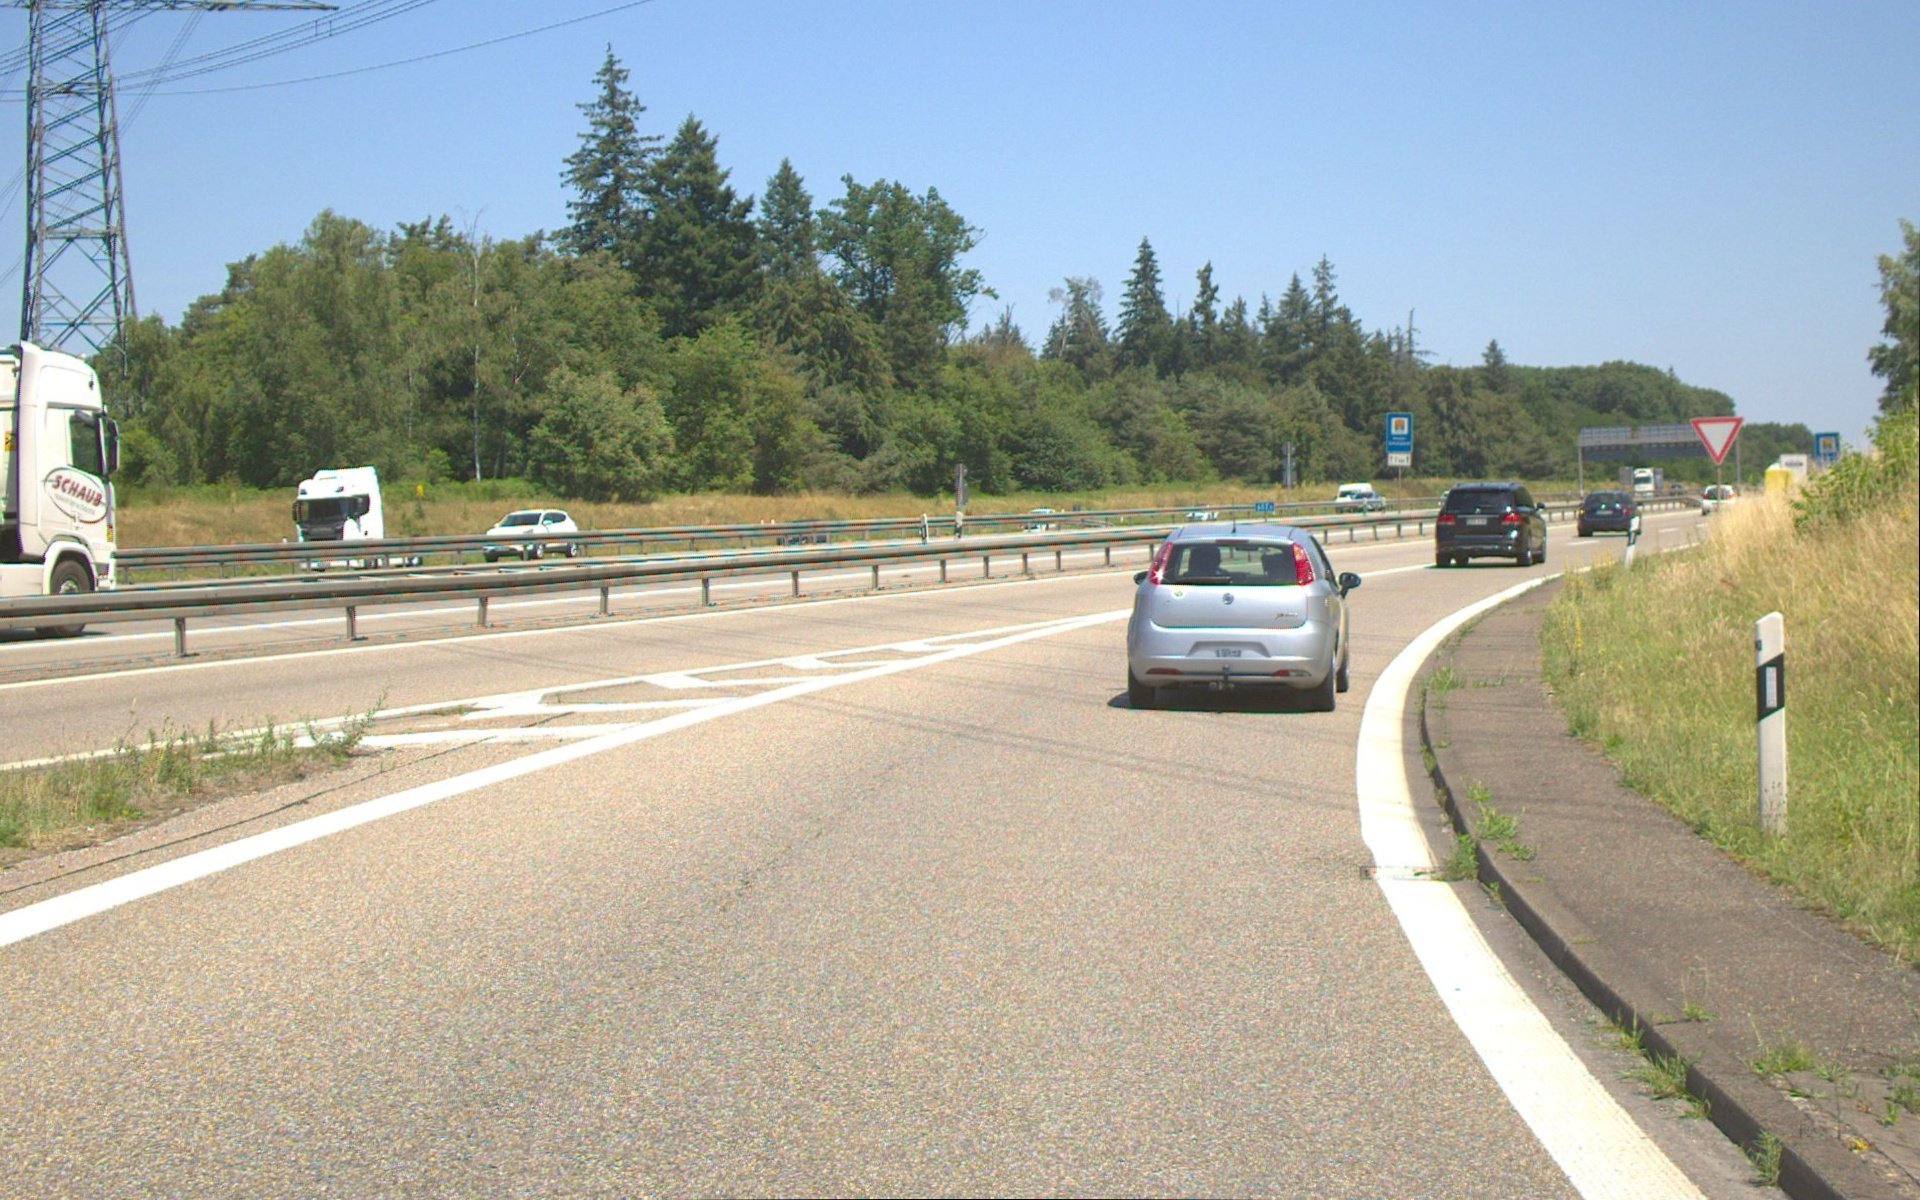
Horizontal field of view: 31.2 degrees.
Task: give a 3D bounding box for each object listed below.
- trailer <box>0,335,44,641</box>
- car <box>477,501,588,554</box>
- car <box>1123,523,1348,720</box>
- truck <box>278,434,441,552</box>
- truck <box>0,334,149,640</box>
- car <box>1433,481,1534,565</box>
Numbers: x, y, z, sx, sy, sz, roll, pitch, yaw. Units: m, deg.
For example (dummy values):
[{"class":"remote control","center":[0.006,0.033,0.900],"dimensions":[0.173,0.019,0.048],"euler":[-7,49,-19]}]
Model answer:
[{"class":"trailer","center":[-14.343,-1.238,39.185],"dimensions":[2.773,3.794,9.878],"euler":[0,2,16]},{"class":"car","center":[-13.978,-2.349,112.602],"dimensions":[1.773,1.678,4.821],"euler":[0,0,17]},{"class":"car","center":[2.315,0.130,28.490],"dimensions":[1.706,1.476,3.397],"euler":[2,1,6]},{"class":"truck","center":[-23.051,-4.044,132.371],"dimensions":[2.862,4.330,7.524],"euler":[0,0,19]},{"class":"truck","center":[-12.877,-1.440,44.267],"dimensions":[2.758,3.794,4.619],"euler":[0,2,16]},{"class":"car","center":[10.919,-1.577,71.606],"dimensions":[1.707,1.670,3.395],"euler":[-1,0,15]}]
